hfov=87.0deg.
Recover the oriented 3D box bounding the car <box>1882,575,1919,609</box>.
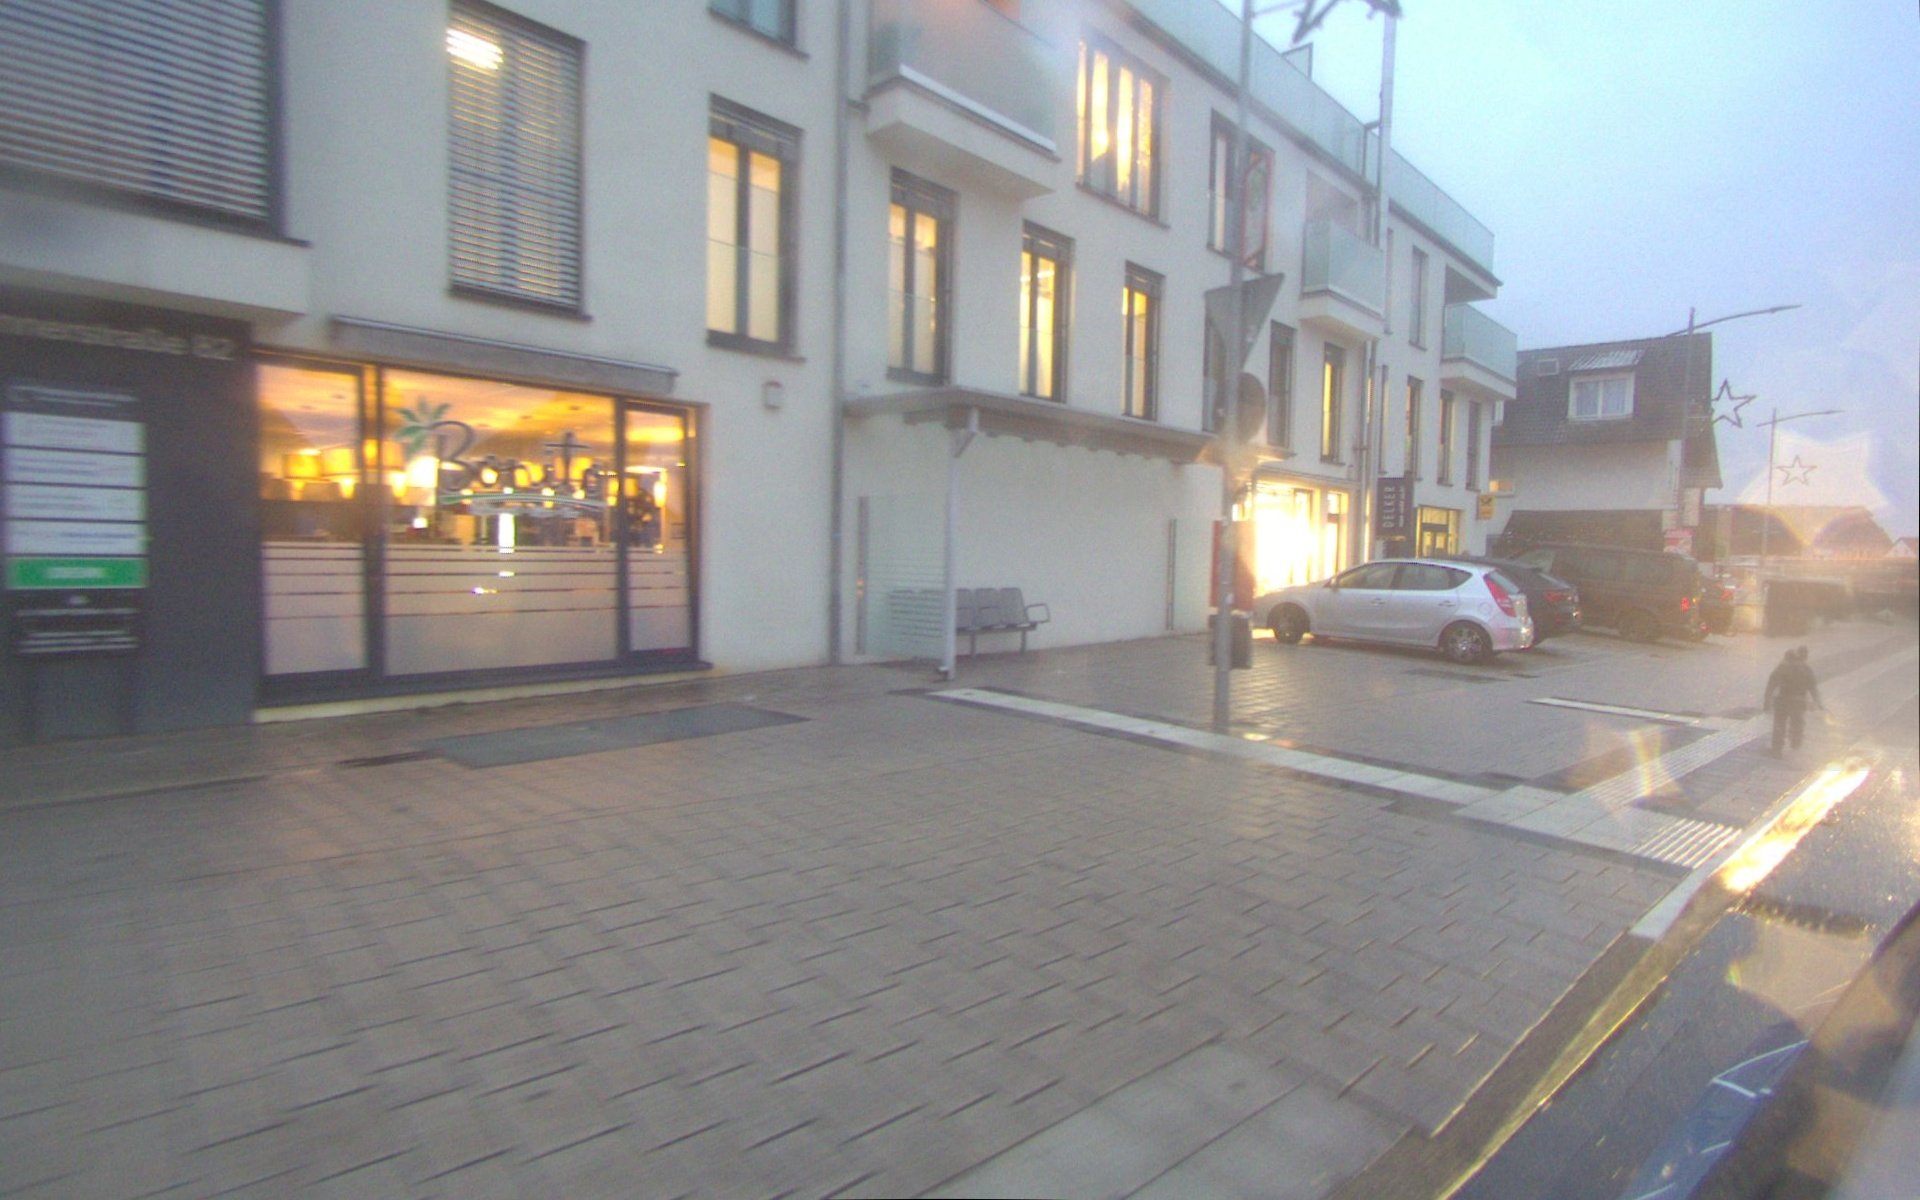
[{"bbox_3d":[58.906,-0.525,62.418,1.981,2.038,3.963,2,2,27],"label":"car"}]

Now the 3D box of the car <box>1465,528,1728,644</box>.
[{"bbox_3d":[14.138,-0.400,22.678,4.544,1.956,1.944,10,7,43],"label":"car"}]

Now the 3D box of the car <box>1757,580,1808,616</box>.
[{"bbox_3d":[40.162,-0.103,49.461,1.840,1.605,3.716,4,3,39],"label":"car"}]

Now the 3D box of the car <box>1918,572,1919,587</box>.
[{"bbox_3d":[92.424,-1.898,95.538,1.784,1.486,4.217,3,3,28],"label":"car"}]

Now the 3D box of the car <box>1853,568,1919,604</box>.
[{"bbox_3d":[50.732,-0.799,55.533,1.709,1.835,4.095,2,2,29],"label":"car"}]

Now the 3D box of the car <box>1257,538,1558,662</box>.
[{"bbox_3d":[6.985,-0.103,15.978,3.979,1.521,1.790,6,6,37],"label":"car"}]

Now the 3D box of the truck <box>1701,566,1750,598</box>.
[{"bbox_3d":[57.264,-1.399,75.789,2.232,2.258,6.037,2,2,31],"label":"truck"}]

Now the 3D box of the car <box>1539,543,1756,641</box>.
[{"bbox_3d":[16.950,-0.260,25.097,4.137,1.652,1.731,13,8,37],"label":"car"}]

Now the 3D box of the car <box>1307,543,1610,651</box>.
[{"bbox_3d":[8.932,-0.157,18.393,4.510,1.510,1.945,7,6,43],"label":"car"}]

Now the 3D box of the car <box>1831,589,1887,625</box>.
[{"bbox_3d":[41.859,0.294,47.188,1.827,1.563,3.661,2,2,40],"label":"car"}]
